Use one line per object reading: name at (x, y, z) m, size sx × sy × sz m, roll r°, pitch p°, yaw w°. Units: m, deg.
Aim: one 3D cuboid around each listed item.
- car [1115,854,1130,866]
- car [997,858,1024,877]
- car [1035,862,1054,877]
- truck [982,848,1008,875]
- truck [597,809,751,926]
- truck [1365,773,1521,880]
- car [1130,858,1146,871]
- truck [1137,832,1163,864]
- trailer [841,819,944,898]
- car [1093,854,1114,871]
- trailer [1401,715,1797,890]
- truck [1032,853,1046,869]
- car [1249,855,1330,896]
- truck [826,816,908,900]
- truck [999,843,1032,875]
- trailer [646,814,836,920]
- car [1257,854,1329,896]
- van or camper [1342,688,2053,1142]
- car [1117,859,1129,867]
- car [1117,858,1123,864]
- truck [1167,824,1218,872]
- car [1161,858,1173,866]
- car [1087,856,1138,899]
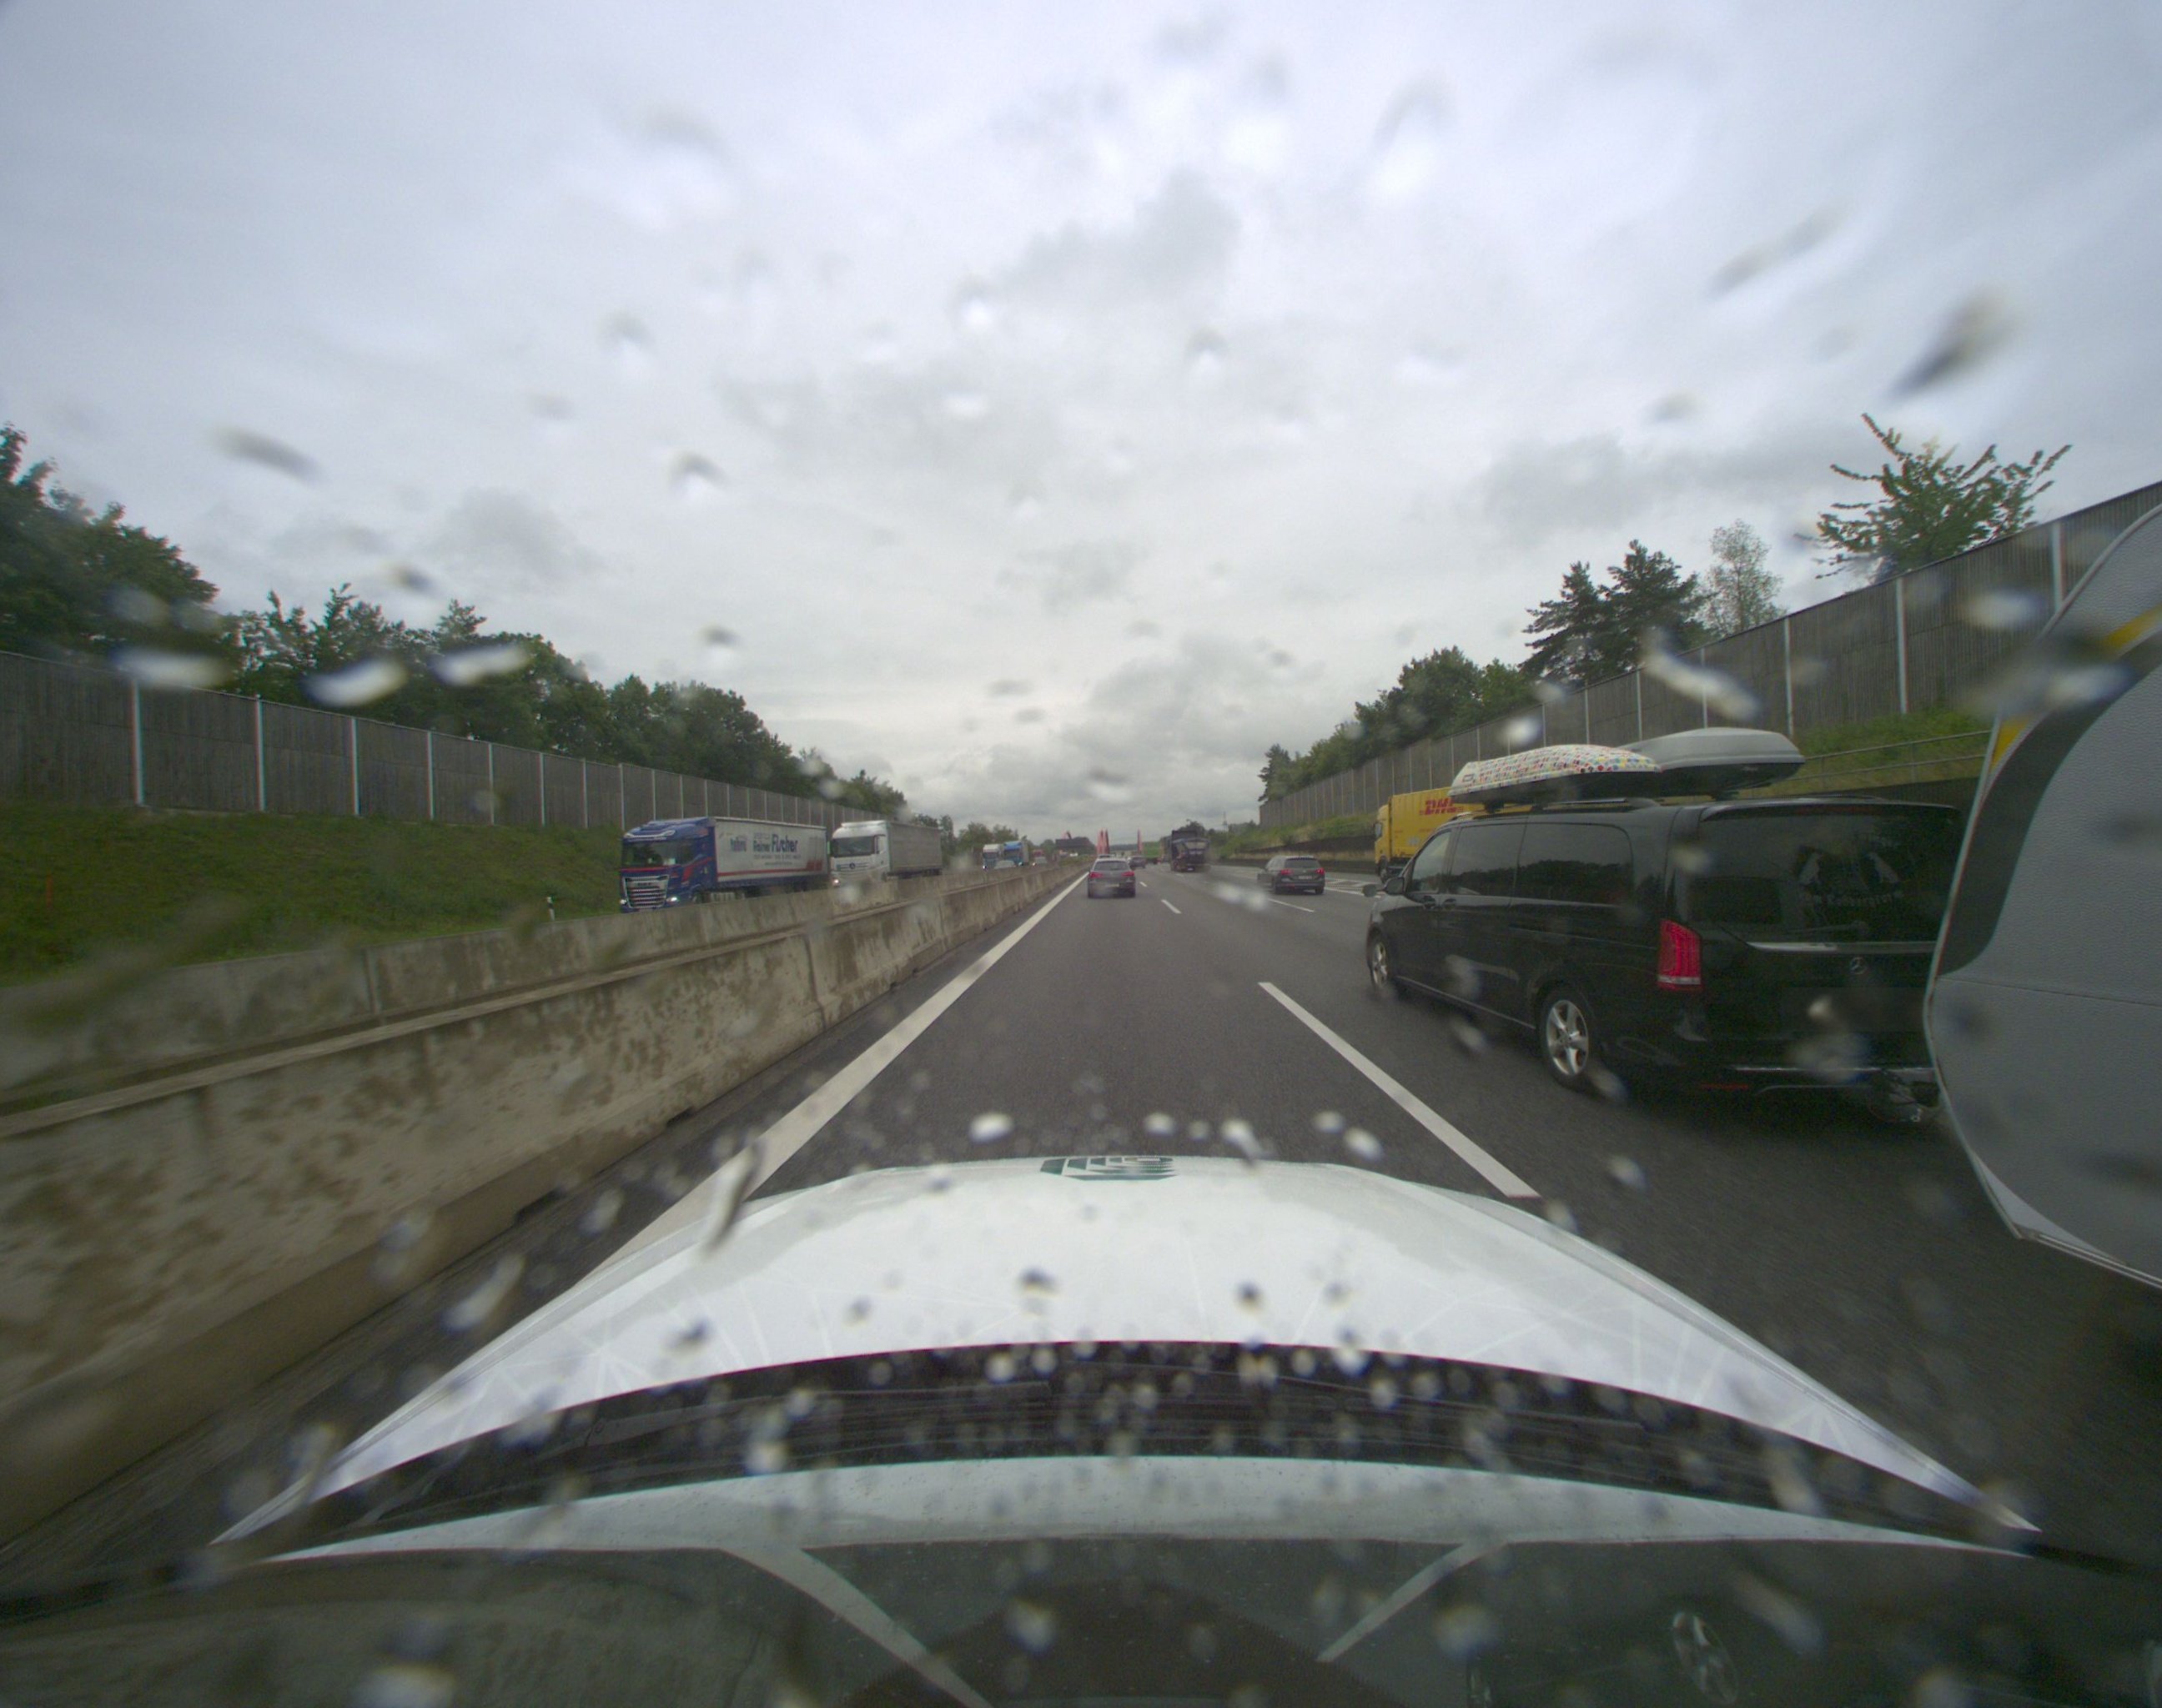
car at (5.844, 0.823, 114.930) m, size 1.986 × 1.662 × 4.002 m, roll -2°, pitch 0°, yaw 2°
car at (-6.681, 1.225, 77.353) m, size 1.965 × 1.689 × 4.359 m, roll -2°, pitch 0°, yaw 2°
car at (-4.858, 2.058, 109.070) m, size 1.986 × 1.736 × 5.004 m, roll -2°, pitch 0°, yaw 2°
truck at (-12.525, 1.033, 119.004) m, size 2.878 × 3.796 × 5.892 m, roll -2°, pitch 0°, yaw 2°
truck at (-16.674, 0.544, 33.922) m, size 3.078 × 4.325 × 6.100 m, roll -2°, pitch -1°, yaw 2°
truck at (15.093, -0.983, 34.985) m, size 2.676 × 3.958 × 9.327 m, roll 0°, pitch -1°, yaw 1°
car at (6.534, 1.183, 93.396) m, size 1.775 × 1.406 × 3.628 m, roll -1°, pitch 0°, yaw 2°
truck at (11.763, -1.002, 140.027) m, size 3.981 × 5.266 × 11.228 m, roll -2°, pitch 0°, yaw 3°
trailer at (-11.494, 0.317, 51.581) m, size 2.769 × 4.325 × 14.029 m, roll 0°, pitch -1°, yaw 2°
car at (2.253, 0.846, 82.225) m, size 1.986 × 1.585 × 4.001 m, roll -2°, pitch 0°, yaw 2°
trailer at (14.981, -1.088, 26.766) m, size 2.641 × 3.953 × 16.687 m, roll 0°, pitch -1°, yaw 1°
truck at (-10.470, 1.733, 201.781) m, size 2.684 × 3.707 × 6.488 m, roll 0°, pitch -1°, yaw 4°
car at (7.904, 0.756, 31.399) m, size 1.932 × 1.427 × 5.291 m, roll 0°, pitch 0°, yaw 2°
truck at (-11.701, 0.255, 45.080) m, size 2.769 × 4.325 × 6.099 m, roll 0°, pitch -1°, yaw 2°
truck at (-9.172, 0.720, 115.410) m, size 3.139 × 4.325 × 12.686 m, roll 0°, pitch -1°, yaw 2°
trailer at (-16.440, 0.630, 41.311) m, size 3.078 × 4.325 × 14.343 m, roll -2°, pitch -1°, yaw 2°
car at (7.974, 0.757, 30.988) m, size 1.657 × 1.456 × 4.471 m, roll 0°, pitch -1°, yaw 1°
van or camper at (3.985, 0.325, 6.921) m, size 1.883 × 2.270 × 5.681 m, roll 0°, pitch -1°, yaw 2°
car at (7.542, 1.656, 146.013) m, size 1.986 × 1.354 × 4.001 m, roll -2°, pitch 0°, yaw 1°
car at (11.936, 2.103, 248.361) m, size 1.985 × 1.815 × 4.003 m, roll -1°, pitch 0°, yaw 3°
truck at (9.957, -0.435, 74.058) m, size 3.078 × 3.950 × 12.949 m, roll -2°, pitch -1°, yaw 2°
car at (16.178, 1.547, 153.289) m, size 1.986 × 1.354 × 4.001 m, roll -2°, pitch 0°, yaw 2°
car at (1.136, 0.831, 30.318) m, size 1.757 × 1.453 × 4.000 m, roll -1°, pitch 0°, yaw 1°
